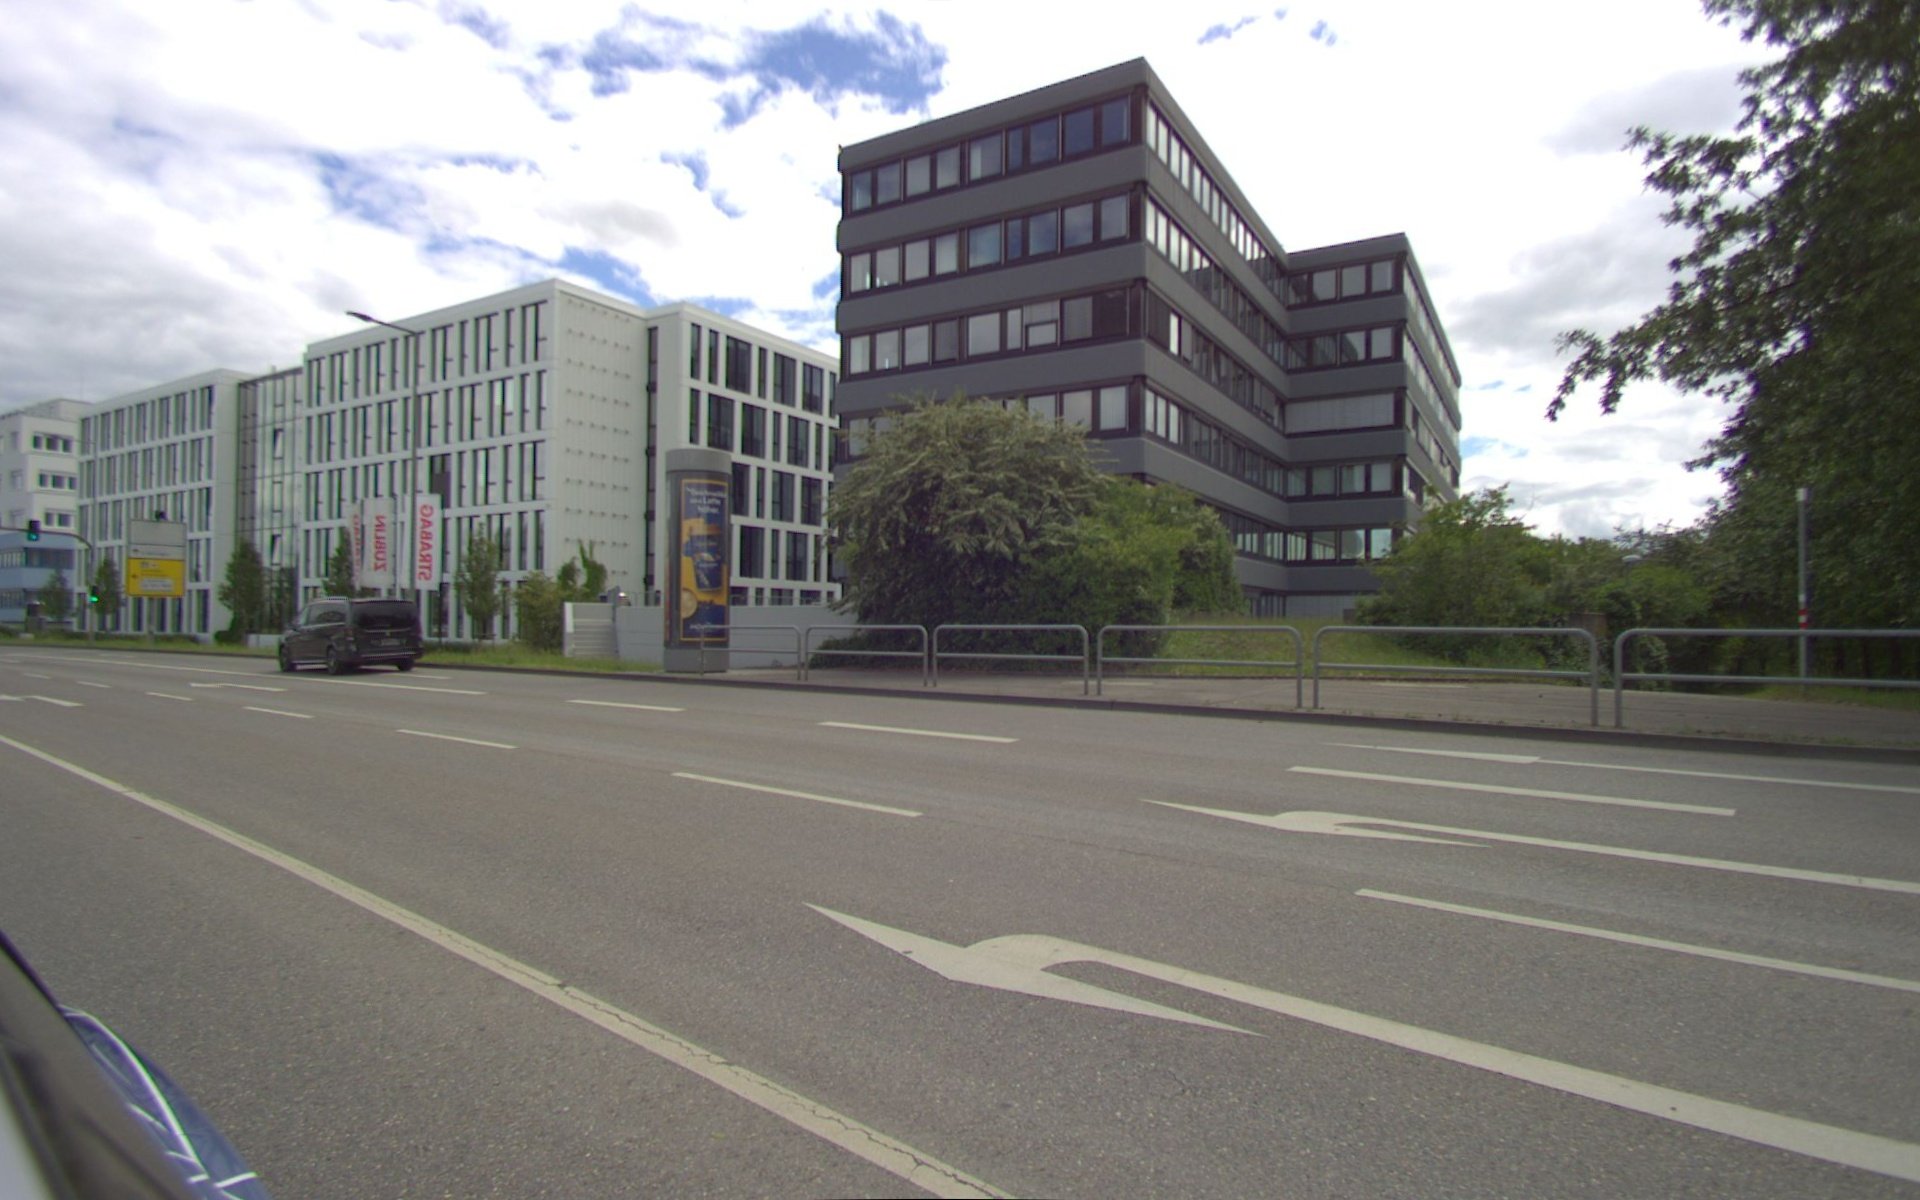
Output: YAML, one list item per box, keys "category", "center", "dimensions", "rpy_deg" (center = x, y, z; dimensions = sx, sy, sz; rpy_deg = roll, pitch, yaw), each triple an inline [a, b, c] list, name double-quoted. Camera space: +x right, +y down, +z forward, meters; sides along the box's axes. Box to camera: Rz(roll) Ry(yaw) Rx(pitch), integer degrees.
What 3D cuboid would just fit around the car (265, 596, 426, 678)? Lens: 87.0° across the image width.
- category: "car"
  center: [-16.270, 0.951, 26.674]
  dimensions: [5.359, 1.962, 1.998]
  rpy_deg: [-2, -2, 39]
